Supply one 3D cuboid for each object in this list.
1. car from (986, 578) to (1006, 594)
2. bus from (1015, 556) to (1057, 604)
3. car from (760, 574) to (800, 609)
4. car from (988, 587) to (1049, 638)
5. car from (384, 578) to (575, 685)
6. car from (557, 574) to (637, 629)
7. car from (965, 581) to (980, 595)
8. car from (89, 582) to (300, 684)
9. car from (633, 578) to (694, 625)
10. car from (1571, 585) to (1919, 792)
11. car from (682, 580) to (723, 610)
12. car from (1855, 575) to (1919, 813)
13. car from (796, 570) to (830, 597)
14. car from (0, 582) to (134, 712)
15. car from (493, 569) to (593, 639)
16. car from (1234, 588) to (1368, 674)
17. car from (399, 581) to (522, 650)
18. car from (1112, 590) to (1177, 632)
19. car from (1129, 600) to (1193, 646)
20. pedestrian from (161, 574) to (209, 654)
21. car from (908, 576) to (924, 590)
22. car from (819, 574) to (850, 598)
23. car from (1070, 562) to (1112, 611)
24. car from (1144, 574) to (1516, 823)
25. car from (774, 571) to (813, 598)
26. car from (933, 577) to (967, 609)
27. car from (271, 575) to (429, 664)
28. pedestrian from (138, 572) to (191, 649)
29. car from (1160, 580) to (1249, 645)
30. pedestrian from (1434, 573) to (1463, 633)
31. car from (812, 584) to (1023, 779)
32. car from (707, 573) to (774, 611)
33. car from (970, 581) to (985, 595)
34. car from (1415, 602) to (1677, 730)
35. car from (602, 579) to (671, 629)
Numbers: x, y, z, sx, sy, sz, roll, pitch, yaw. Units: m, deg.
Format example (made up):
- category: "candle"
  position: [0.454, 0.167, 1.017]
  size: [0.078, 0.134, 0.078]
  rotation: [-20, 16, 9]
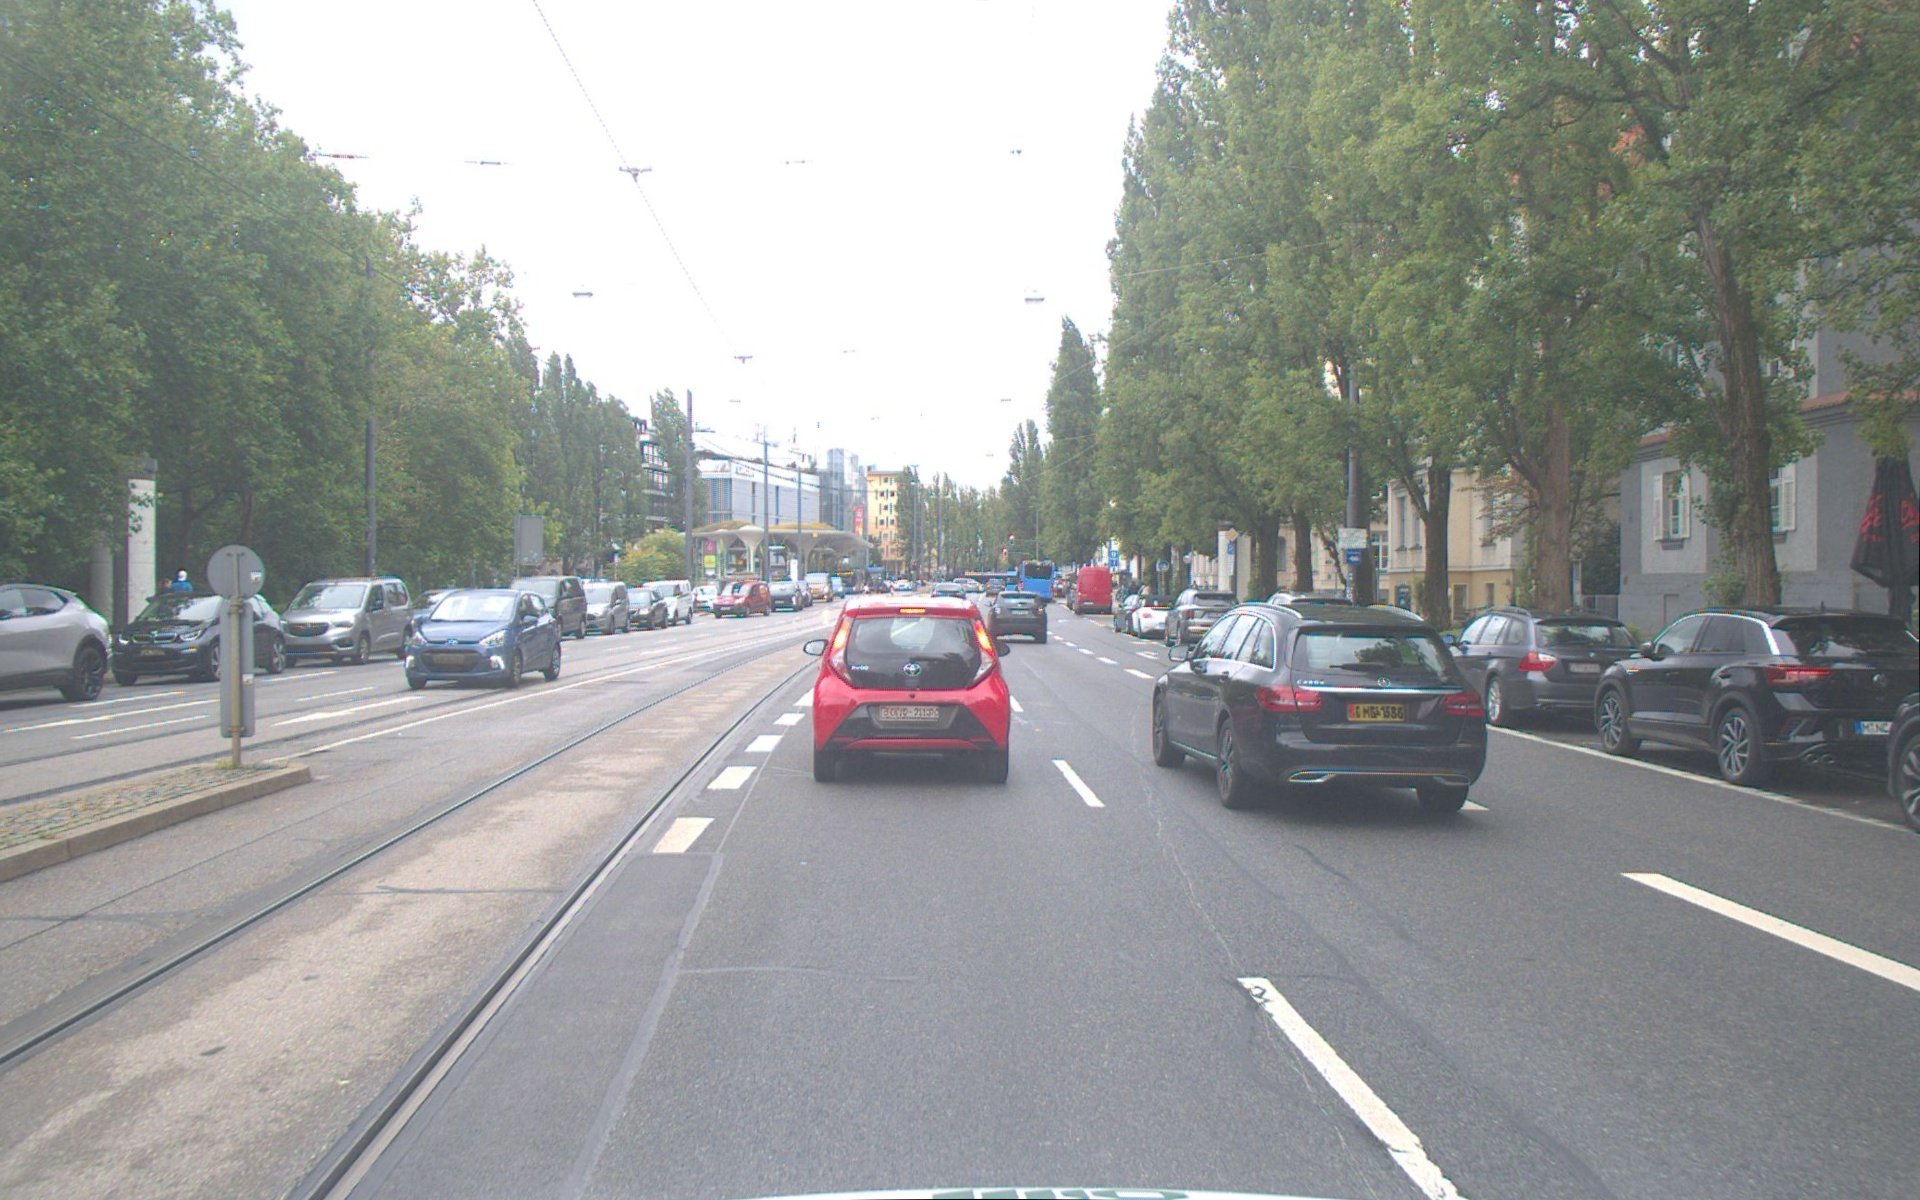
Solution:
- category: "car"
  position: [3.316, -1.285, 151.144]
  size: [1.744, 1.512, 4.000]
  rotation: [0, 1, 0]
- category: "bus"
  position: [5.928, -1.644, 130.216]
  size: [2.846, 3.454, 10.808]
  rotation: [0, 2, 0]
- category: "car"
  position: [-9.963, -0.495, 91.960]
  size: [1.763, 1.819, 4.518]
  rotation: [-2, 0, -1]
- category: "car"
  position: [1.754, 0.350, 50.977]
  size: [1.744, 1.512, 4.000]
  rotation: [0, 0, 0]
- category: "car"
  position: [-7.564, 0.458, 26.458]
  size: [1.762, 1.549, 4.354]
  rotation: [-1, 0, 0]
- category: "car"
  position: [-12.770, 0.021, 58.498]
  size: [1.762, 1.819, 4.519]
  rotation: [-2, 0, 0]
- category: "car"
  position: [1.636, -1.606, 214.759]
  size: [1.766, 1.624, 4.001]
  rotation: [1, -2, 4]
- category: "car"
  position: [-13.734, 0.535, 29.980]
  size: [1.762, 1.696, 4.355]
  rotation: [-1, 0, 0]
- category: "car"
  position: [-12.812, 0.038, 71.735]
  size: [1.763, 1.894, 4.630]
  rotation: [-2, 0, 0]
- category: "car"
  position: [7.396, 0.687, 15.402]
  size: [1.763, 1.640, 4.304]
  rotation: [0, 1, -1]
- category: "car"
  position: [-14.466, -0.283, 93.120]
  size: [1.763, 1.557, 4.517]
  rotation: [-2, 0, -3]
- category: "car"
  position: [7.473, 0.656, 9.958]
  size: [1.686, 1.640, 4.470]
  rotation: [0, 1, -1]
- category: "car"
  position: [-9.816, -1.093, 110.921]
  size: [1.762, 1.694, 4.519]
  rotation: [-2, 0, 1]
- category: "car"
  position: [-13.271, 0.610, 22.274]
  size: [1.762, 1.671, 4.999]
  rotation: [-1, 0, 0]
- category: "car"
  position: [-12.755, 0.088, 50.840]
  size: [1.762, 2.025, 5.039]
  rotation: [-1, 0, 0]
- category: "car"
  position: [6.992, 0.583, 34.338]
  size: [1.763, 1.640, 4.546]
  rotation: [0, 1, -1]
- category: "car"
  position: [-12.842, 0.355, 42.783]
  size: [1.762, 1.663, 4.588]
  rotation: [-1, 0, 0]
- category: "car"
  position: [6.994, 0.376, 63.182]
  size: [1.763, 1.534, 4.448]
  rotation: [0, 0, -3]
- category: "car"
  position: [6.994, 0.776, 57.906]
  size: [1.762, 1.534, 4.000]
  rotation: [0, 0, 0]
- category: "pedestrian"
  position: [-17.932, 0.318, 38.283]
  size: [0.650, 1.821, 0.819]
  rotation: [1, 0, 8]
- category: "car"
  position: [-4.987, -1.916, 187.327]
  size: [1.744, 1.512, 4.000]
  rotation: [0, 0, 0]
- category: "car"
  position: [-9.471, -1.076, 125.222]
  size: [1.762, 1.694, 4.521]
  rotation: [-2, 0, 3]
- category: "car"
  position: [7.319, -0.792, 92.886]
  size: [1.953, 2.618, 4.680]
  rotation: [0, 2, 0]
- category: "car"
  position: [2.694, 0.612, 13.207]
  size: [1.826, 1.576, 4.703]
  rotation: [0, 1, -1]
- category: "car"
  position: [-10.129, -0.959, 100.680]
  size: [1.762, 1.557, 4.520]
  rotation: [-2, 0, 1]
- category: "car"
  position: [-0.492, -0.384, 85.691]
  size: [1.700, 1.576, 4.576]
  rotation: [0, 1, 0]
- category: "car"
  position: [-13.211, 0.379, 36.098]
  size: [1.762, 1.810, 4.473]
  rotation: [-1, 0, 0]
- category: "pedestrian"
  position: [-18.486, 0.232, 38.445]
  size: [0.650, 1.713, 0.989]
  rotation: [1, 2, 8]
- category: "car"
  position: [7.005, 0.322, 47.805]
  size: [1.763, 1.773, 4.699]
  rotation: [0, 1, -1]
- category: "pedestrian"
  position: [14.625, 0.075, 49.541]
  size: [0.579, 1.768, 0.824]
  rotation: [0, 2, 0]
- category: "car"
  position: [-0.393, 0.614, 14.411]
  size: [1.596, 1.465, 3.375]
  rotation: [1, 1, -2]
- category: "car"
  position: [-10.977, -0.427, 82.969]
  size: [1.761, 1.819, 4.523]
  rotation: [-2, 0, 13]
- category: "car"
  position: [2.404, -1.629, 221.763]
  size: [1.766, 1.624, 4.001]
  rotation: [1, -2, 4]
- category: "car"
  position: [7.387, 0.767, 21.340]
  size: [1.763, 1.423, 4.381]
  rotation: [0, 1, -1]
- category: "car"
  position: [-12.664, 0.137, 65.054]
  size: [1.762, 1.819, 4.519]
  rotation: [-2, 0, 0]
